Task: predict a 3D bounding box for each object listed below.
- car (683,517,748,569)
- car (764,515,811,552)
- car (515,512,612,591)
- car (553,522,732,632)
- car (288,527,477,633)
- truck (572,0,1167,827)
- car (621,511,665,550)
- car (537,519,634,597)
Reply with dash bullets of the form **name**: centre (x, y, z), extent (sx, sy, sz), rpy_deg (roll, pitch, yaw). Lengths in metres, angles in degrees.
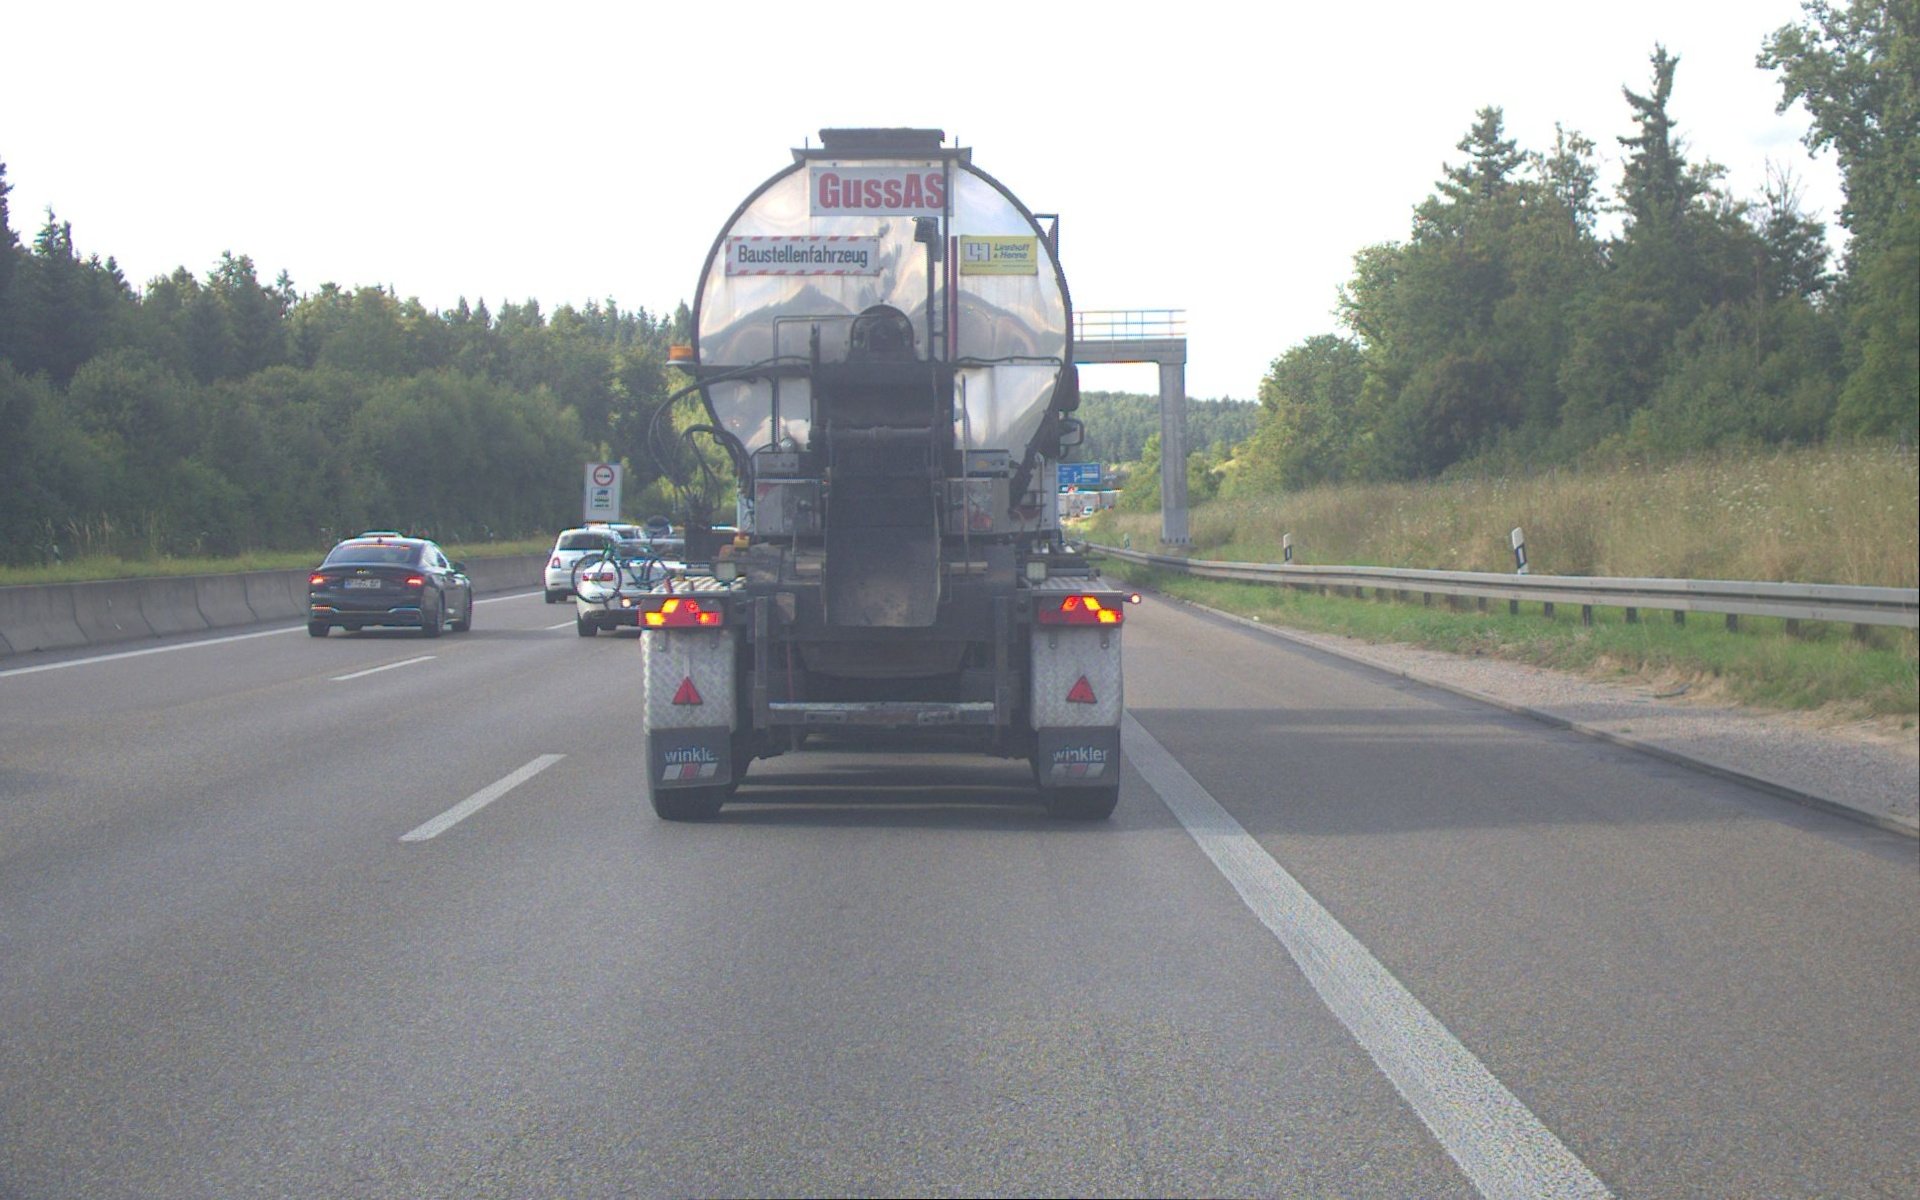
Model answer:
- **car**: centre (-7.702, -1.819, 108.612), extent (1.806, 1.580, 4.207), rpy_deg (1, 2, -1)
- **car**: centre (-7.779, -3.021, 155.228), extent (1.942, 1.580, 4.207), rpy_deg (1, 2, -1)
- **car**: centre (-9.115, -1.146, 79.253), extent (1.845, 1.776, 4.000), rpy_deg (0, 1, -1)
- **car**: centre (-4.498, -0.378, 49.569), extent (2.060, 1.494, 5.736), rpy_deg (0, 1, 0)
- **car**: centre (-8.106, -0.322, 48.640), extent (1.856, 1.426, 4.841), rpy_deg (0, 1, 0)
- **truck**: centre (-0.439, -1.090, 22.481), extent (2.912, 4.143, 11.270), rpy_deg (0, 1, 0)
- **car**: centre (-16.465, -3.624, 178.873), extent (1.993, 2.007, 4.072), rpy_deg (0, 1, -1)
- **car**: centre (-7.631, -0.866, 70.229), extent (1.618, 1.539, 3.520), rpy_deg (1, 1, -1)
